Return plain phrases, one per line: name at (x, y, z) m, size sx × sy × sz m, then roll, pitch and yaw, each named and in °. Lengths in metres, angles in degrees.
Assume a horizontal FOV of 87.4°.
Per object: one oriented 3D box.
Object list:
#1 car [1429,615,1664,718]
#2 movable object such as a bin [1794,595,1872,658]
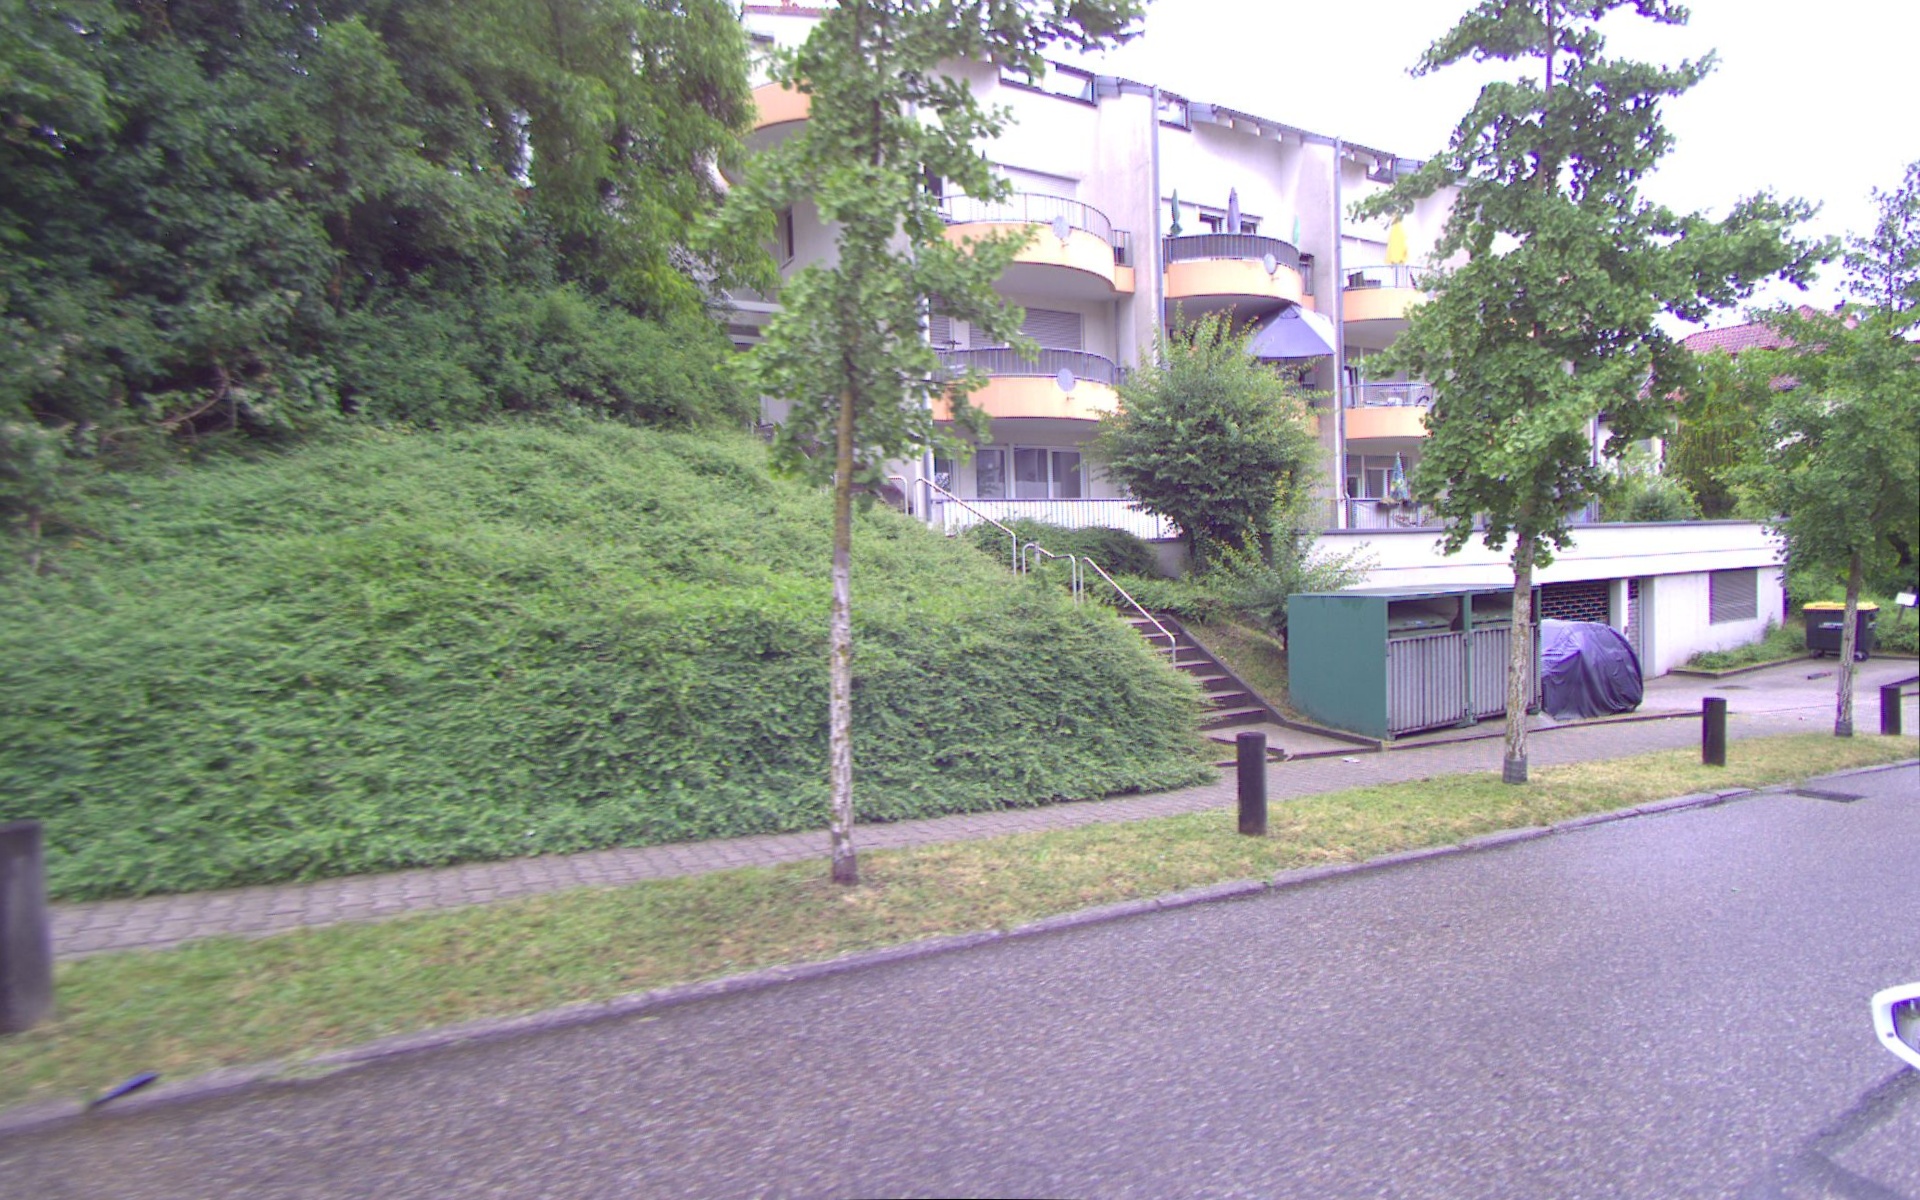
car at (9.495, 1.020, 16.196) m, size 3.843 × 1.475 × 1.732 m, roll 1°, pitch -3°, yaw -33°
movable object such as a bin at (20.566, 0.609, 23.674) m, size 0.483 × 1.406 × 1.264 m, roll -1°, pitch 3°, yaw -32°
